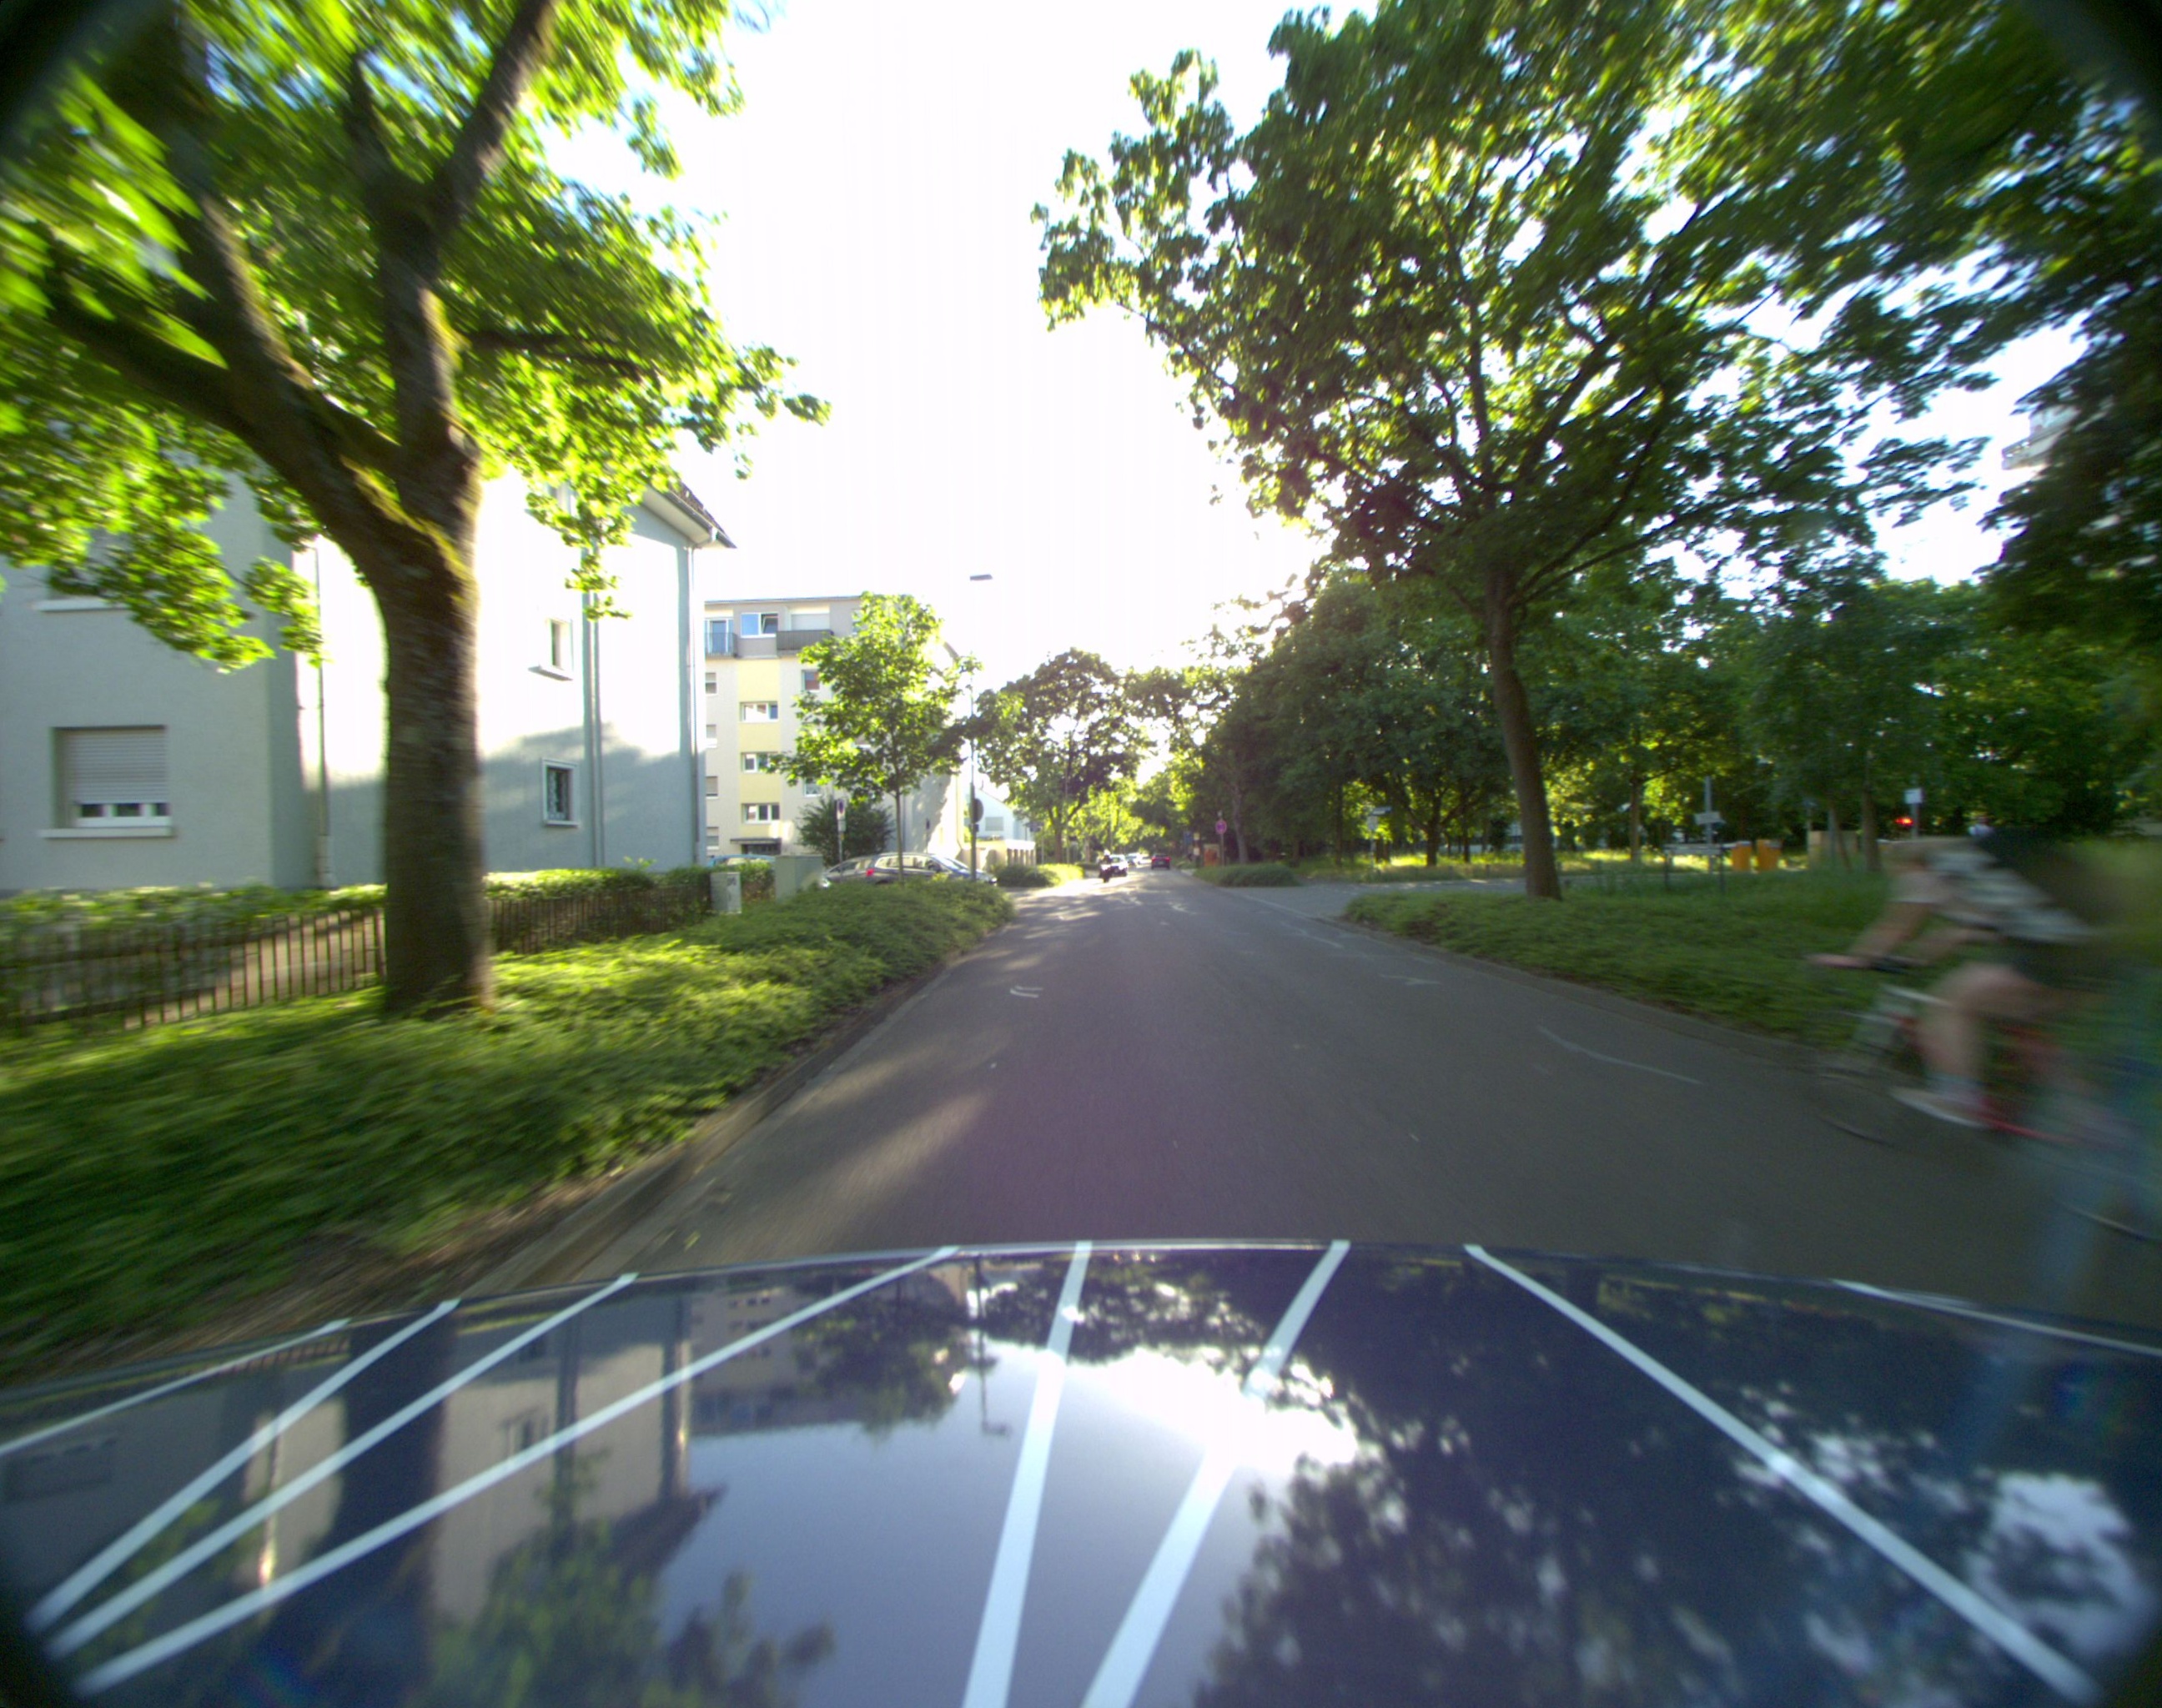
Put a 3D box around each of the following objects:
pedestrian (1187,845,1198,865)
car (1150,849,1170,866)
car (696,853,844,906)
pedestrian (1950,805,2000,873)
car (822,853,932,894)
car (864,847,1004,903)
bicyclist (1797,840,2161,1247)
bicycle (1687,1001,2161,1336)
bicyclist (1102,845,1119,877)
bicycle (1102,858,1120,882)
[{"bbox_3d":[10.465,0.106,71.078,0.905,1.810,0.721,-2,1,3],"label":"pedestrian"},{"bbox_3d":[7.846,0.346,75.133,1.848,1.569,4.338,0,0,6],"label":"car"},{"bbox_3d":[-9.903,0.792,24.411,3.997,1.572,1.810,-1,-1,1],"label":"car"},{"bbox_3d":[27.184,-0.445,23.111,0.758,2.002,0.590,-2,1,5],"label":"pedestrian"},{"bbox_3d":[-8.525,0.792,31.935,4.050,1.506,1.726,-2,2,2],"label":"car"},{"bbox_3d":[-4.951,0.705,25.900,4.273,1.664,1.770,-3,1,8],"label":"car"},{"bbox_3d":[3.994,0.721,3.381,0.634,1.546,1.002,0,1,-1],"label":"bicyclist"},{"bbox_3d":[3.991,1.264,3.524,0.640,0.737,2.125,0,0,0],"label":"bicycle"},{"bbox_3d":[1.542,0.346,39.637,0.819,1.635,0.745,-3,1,4],"label":"bicyclist"},{"bbox_3d":[1.574,0.818,39.673,0.829,1.182,2.303,-3,0,4],"label":"bicycle"}]
